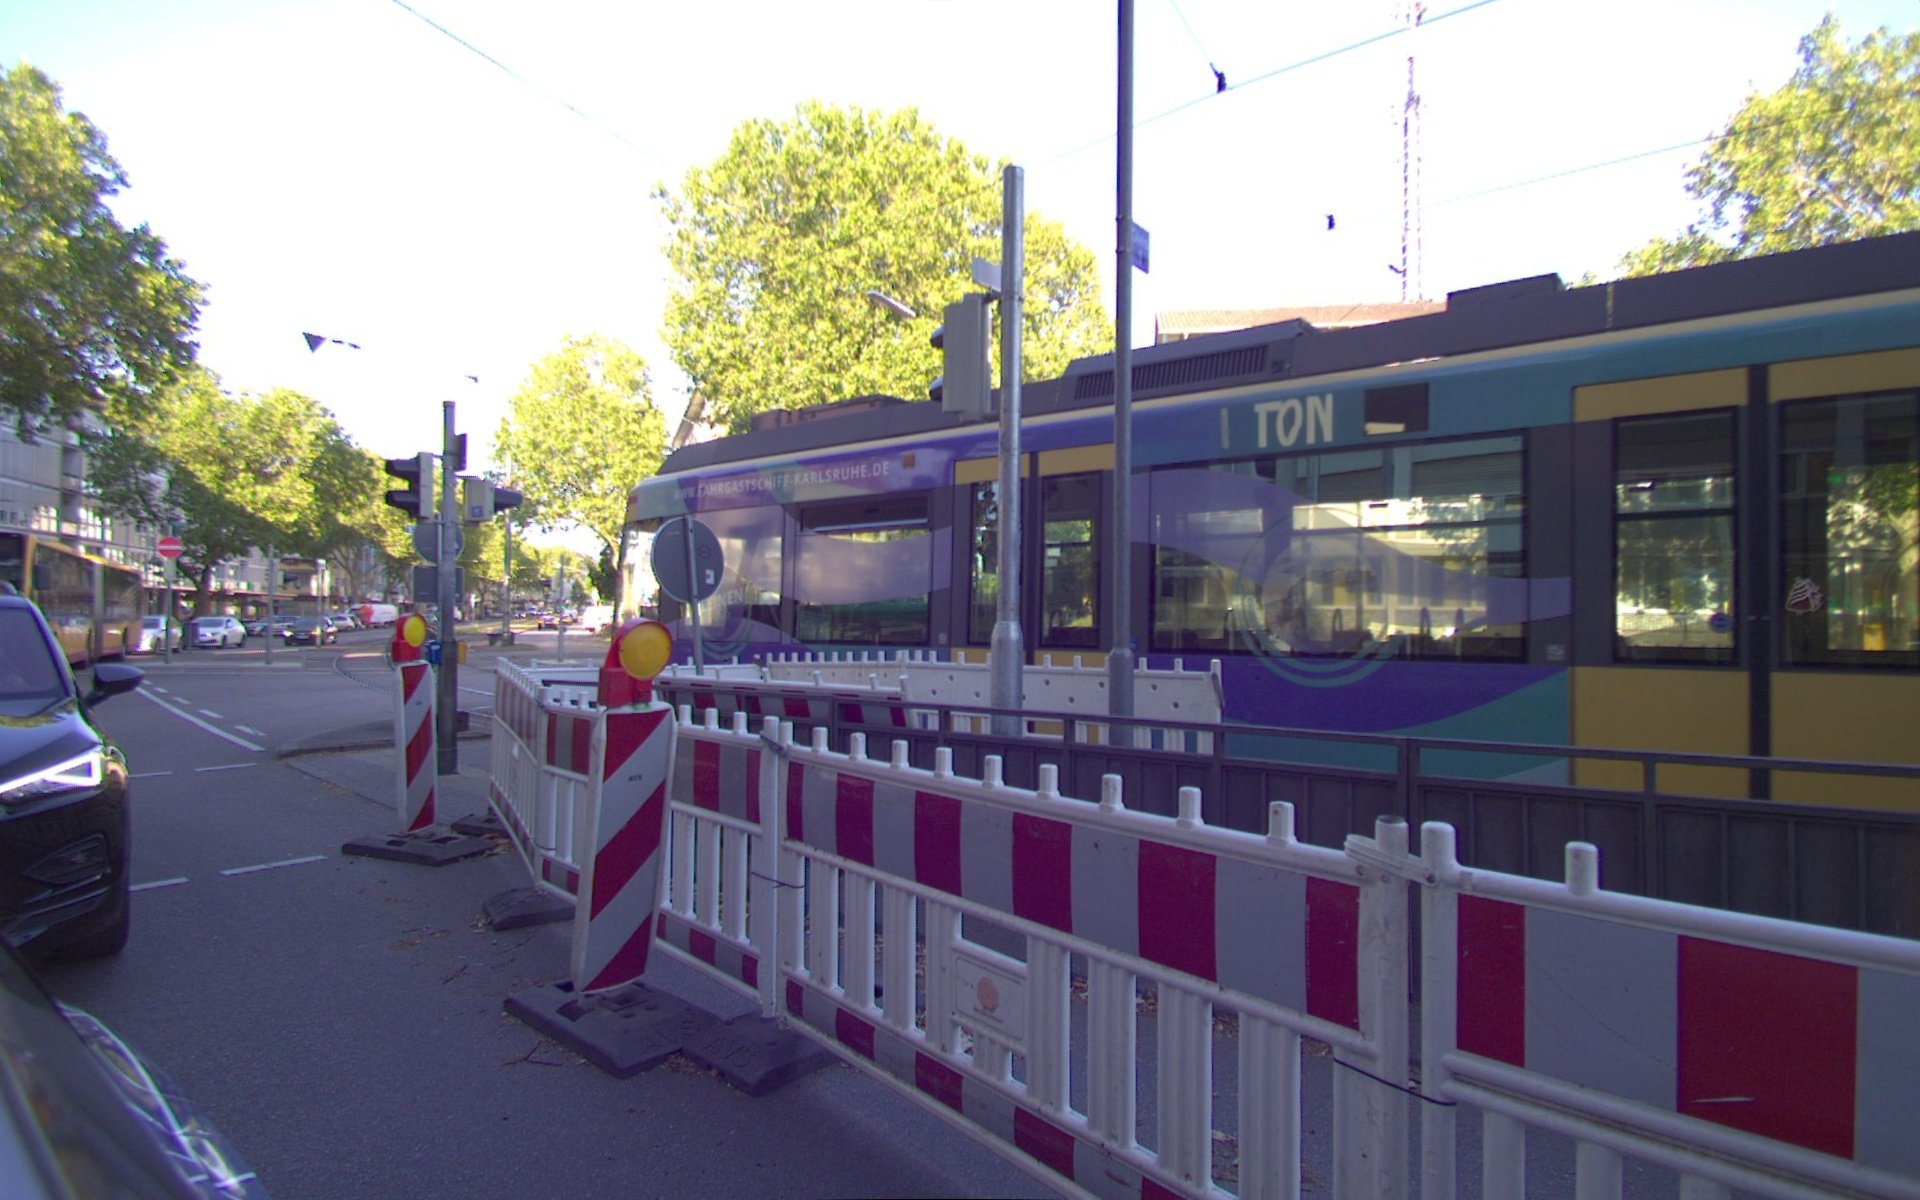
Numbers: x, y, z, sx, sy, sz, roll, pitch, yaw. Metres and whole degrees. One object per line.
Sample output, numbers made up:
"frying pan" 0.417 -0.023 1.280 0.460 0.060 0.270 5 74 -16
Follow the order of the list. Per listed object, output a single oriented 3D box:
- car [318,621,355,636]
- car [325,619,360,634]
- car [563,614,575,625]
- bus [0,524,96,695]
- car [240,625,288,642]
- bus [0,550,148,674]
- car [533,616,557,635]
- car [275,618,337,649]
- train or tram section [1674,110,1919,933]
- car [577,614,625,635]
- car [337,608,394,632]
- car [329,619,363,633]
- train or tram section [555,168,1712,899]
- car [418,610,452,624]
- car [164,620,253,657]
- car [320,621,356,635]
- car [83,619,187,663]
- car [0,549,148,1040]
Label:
"car" -54.928 2.518 89.168 1.201 1.290 2.592 0 -1 43
"car" -58.110 2.496 95.310 1.201 1.399 2.592 0 -1 43
"car" -65.975 3.319 170.687 1.875 1.918 4.013 1 -1 -21
"bus" -21.045 0.236 21.945 2.710 3.127 9.519 1 -2 -36
"car" -50.902 2.433 74.022 1.198 1.226 2.599 0 -1 34
"bus" -26.352 0.395 29.794 2.708 3.127 9.523 1 -2 -32
"car" -41.576 2.544 101.420 1.965 1.881 4.012 1 -1 -19
"car" -33.422 1.689 51.852 1.923 1.486 4.772 1 -1 -24
"train or tram section" 8.379 -0.372 2.849 10.321 3.514 2.844 -1 -1 37
"car" -34.238 2.340 96.543 1.994 1.929 3.954 -1 -2 33
"car" -61.623 2.063 104.992 1.873 2.394 4.817 0 -1 30
"car" -59.451 2.487 97.996 1.201 1.355 2.592 0 -1 43
"train or tram section" 0.347 -0.254 9.213 10.326 3.514 2.808 -1 -1 39
"car" -77.524 2.476 149.449 1.874 2.029 3.956 -1 -2 32
"car" -34.618 1.724 46.763 1.923 1.562 4.771 1 -1 -19
"car" -56.552 2.532 92.057 1.201 1.290 2.592 0 -1 43
"car" -30.653 1.470 37.748 1.880 1.486 4.433 1 -1 -24
"car" -5.164 0.695 4.595 4.300 1.670 1.823 -1 -1 45
